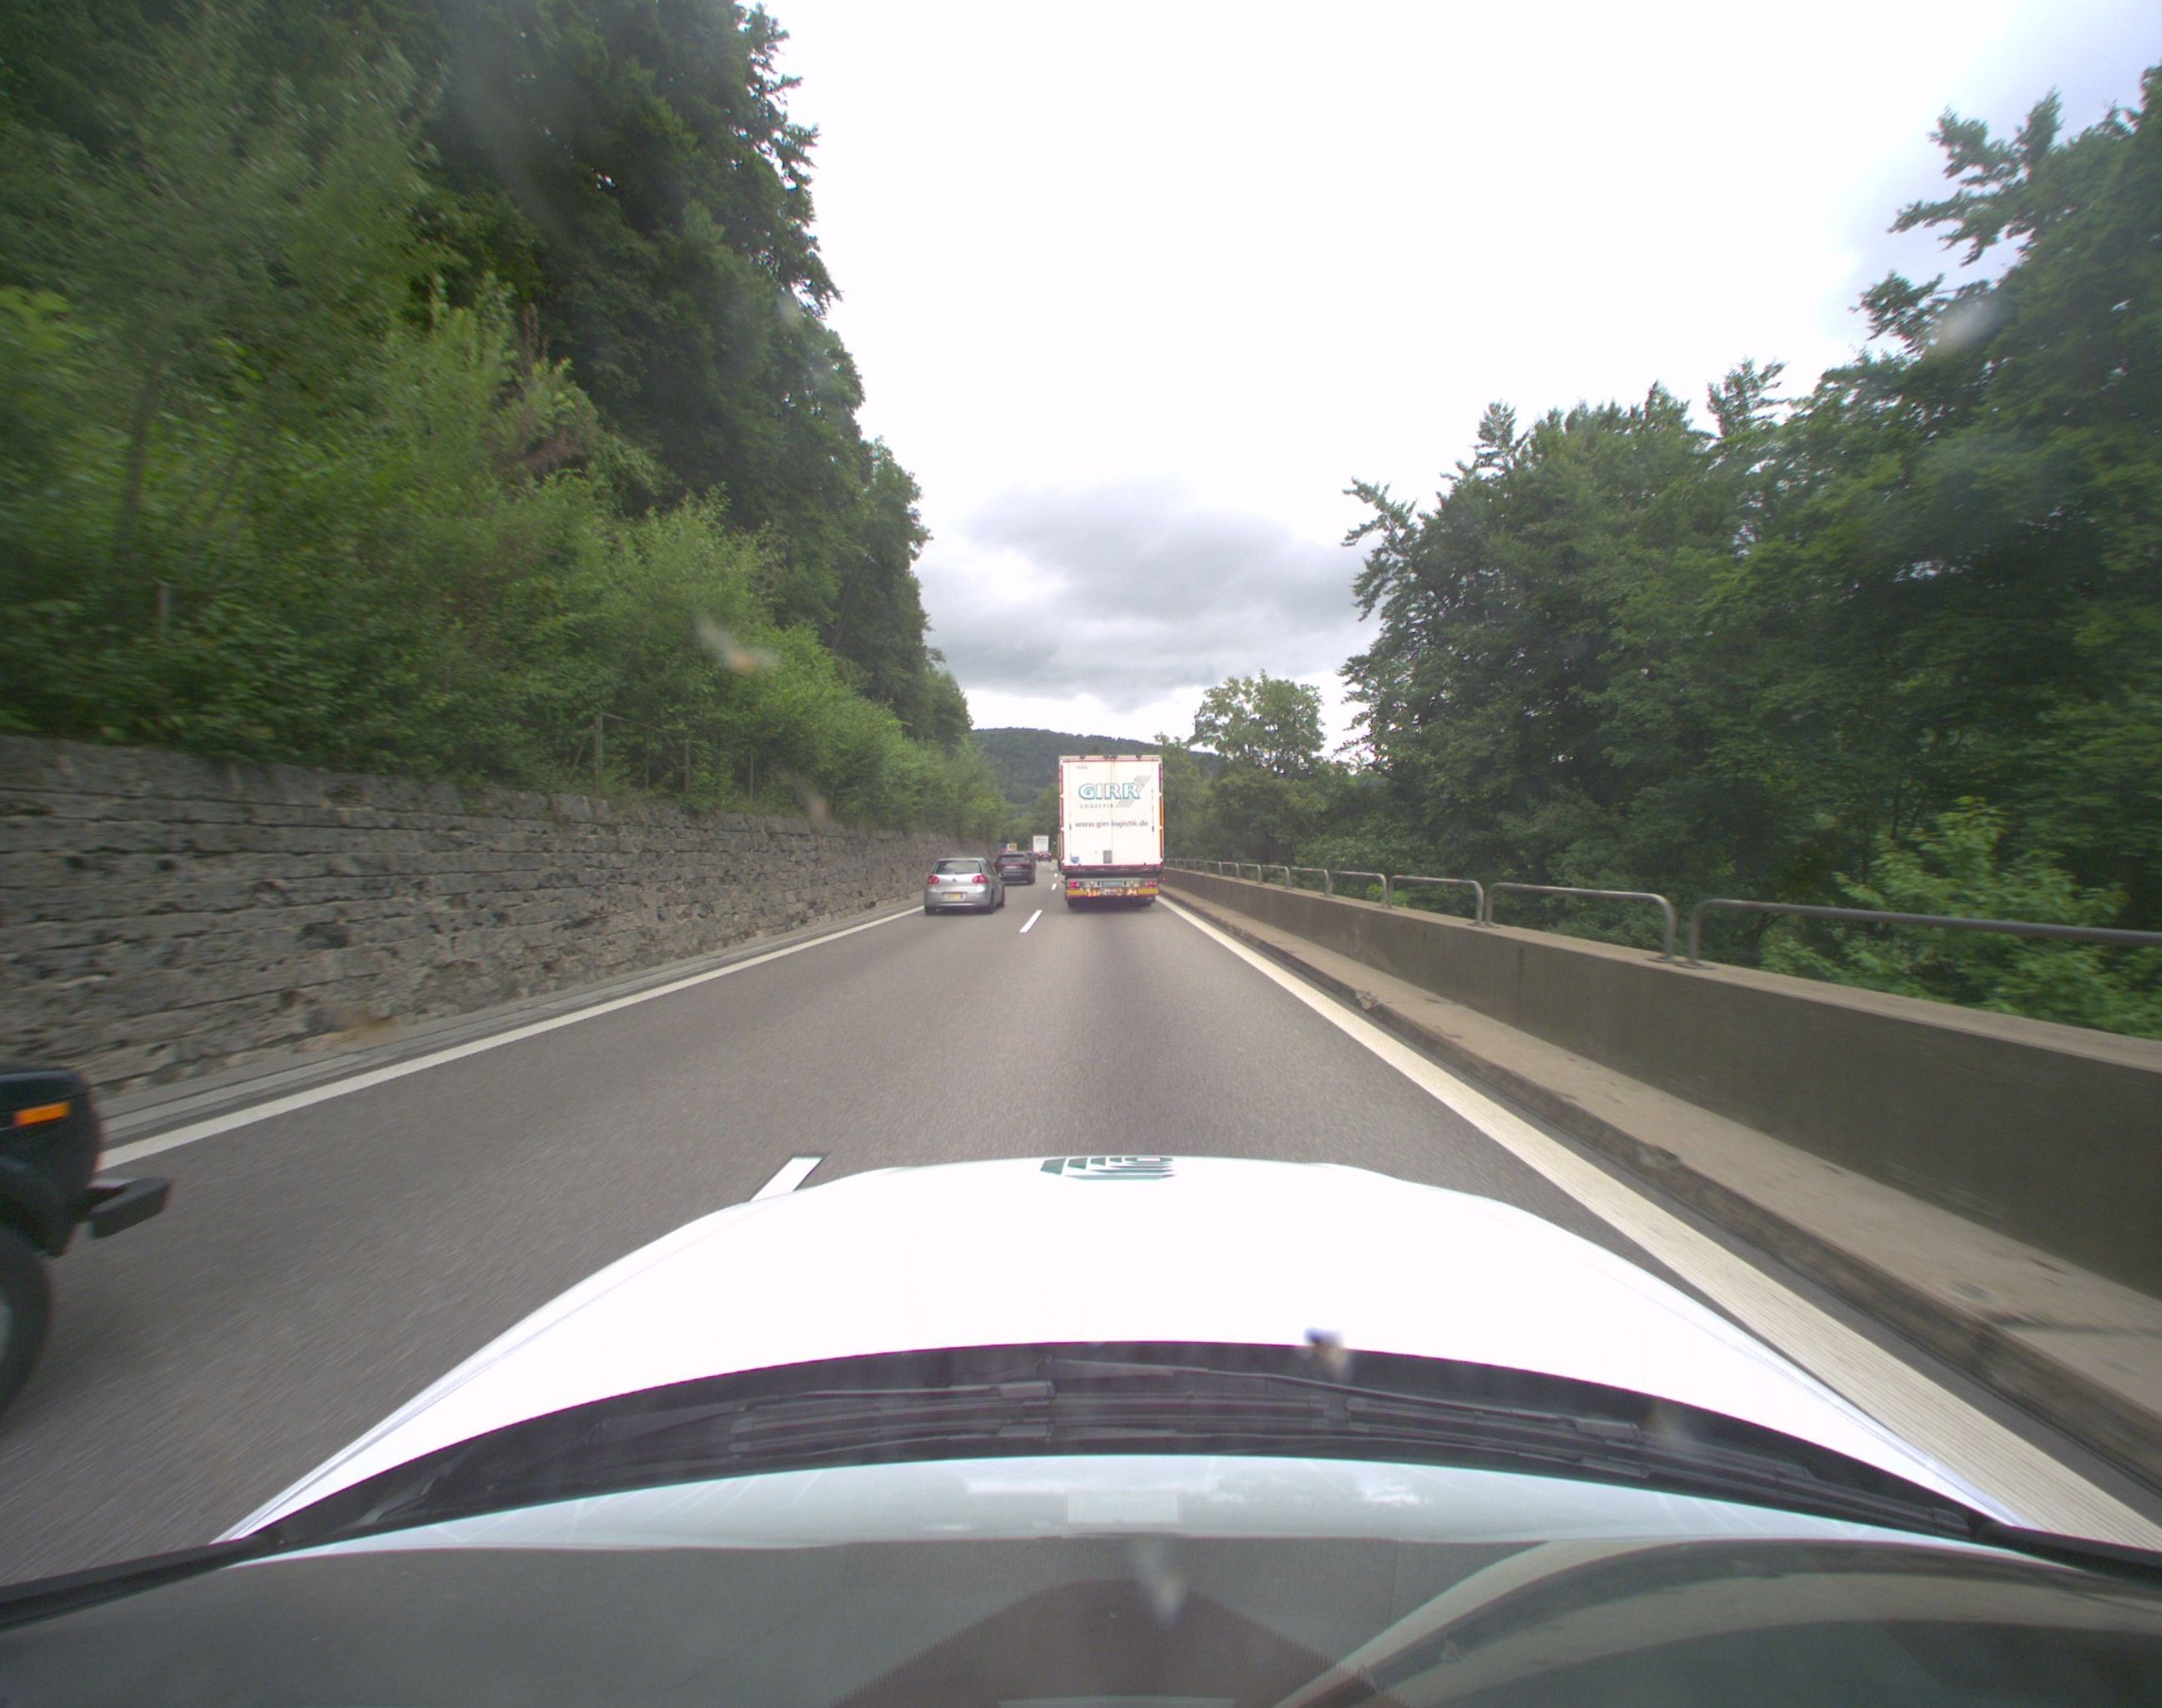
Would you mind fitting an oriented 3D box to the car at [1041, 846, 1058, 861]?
[{"bbox_3d":[-4.364,-0.085,113.389,1.986,2.014,4.001,0,-1,2],"label":"car"}]

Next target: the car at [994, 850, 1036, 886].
[{"bbox_3d":[-3.171,0.651,39.689,1.913,1.595,4.173,-1,0,-4],"label":"car"}]

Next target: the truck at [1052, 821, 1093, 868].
[{"bbox_3d":[-0.822,-0.681,66.835,2.483,3.571,9.288,-1,0,-6],"label":"truck"}]

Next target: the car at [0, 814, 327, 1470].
[{"bbox_3d":[-3.603,0.727,0.870,1.662,1.638,4.071,-1,0,3],"label":"car"}]

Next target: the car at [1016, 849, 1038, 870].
[{"bbox_3d":[-4.962,0.520,75.160,1.989,1.849,3.996,0,0,-3],"label":"car"}]

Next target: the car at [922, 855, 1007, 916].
[{"bbox_3d":[-3.060,0.783,22.097,1.723,1.486,3.999,-1,0,0],"label":"car"}]

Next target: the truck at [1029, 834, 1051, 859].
[{"bbox_3d":[-6.853,-1.142,135.174,3.504,3.847,11.759,0,-1,-4],"label":"truck"}]

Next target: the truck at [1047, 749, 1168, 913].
[{"bbox_3d":[0.787,-0.572,24.399,2.898,3.960,9.282,-1,0,2],"label":"truck"}]
